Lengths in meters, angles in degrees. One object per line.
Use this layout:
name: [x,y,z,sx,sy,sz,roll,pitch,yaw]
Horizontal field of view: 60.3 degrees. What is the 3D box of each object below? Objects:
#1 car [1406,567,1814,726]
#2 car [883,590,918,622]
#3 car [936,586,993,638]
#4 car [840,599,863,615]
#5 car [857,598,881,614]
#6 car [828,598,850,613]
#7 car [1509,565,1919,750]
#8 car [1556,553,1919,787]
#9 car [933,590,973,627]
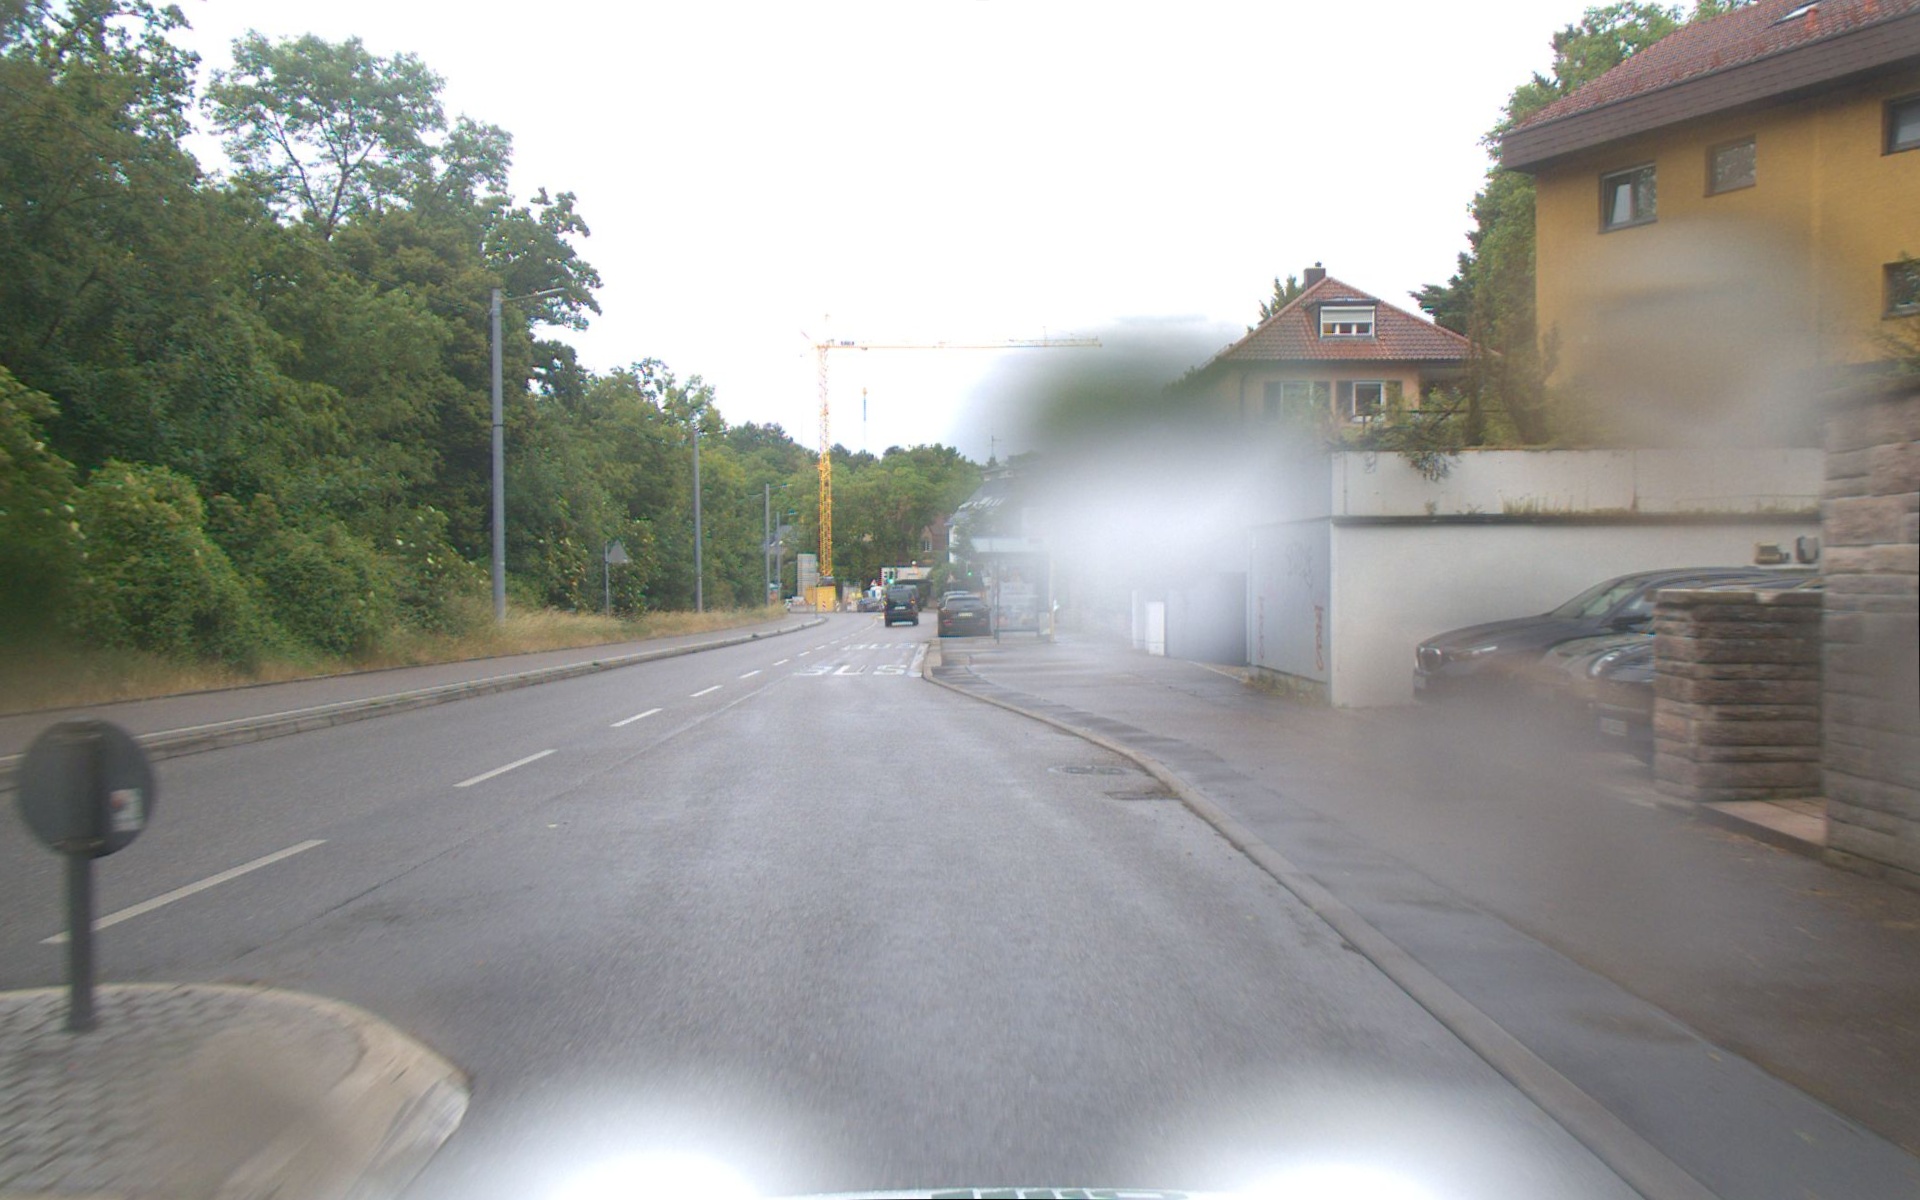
car: [6.794,0.474,17.524,3.693,1.580,1.608,0,0,-2]
car: [-3.029,0.305,84.723,1.633,1.621,3.682,0,0,0]
car: [0.146,0.409,59.066,1.953,1.803,4.114,0,0,0]
car: [-11.158,0.675,170.067,1.710,1.579,3.842,2,0,-14]
car: [-9.024,0.609,163.960,1.710,1.579,3.842,0,0,-14]
car: [-12.840,0.599,175.457,1.710,1.579,3.842,0,0,-14]
car: [6.930,0.484,15.196,3.218,1.506,1.576,-2,1,-2]
car: [6.719,0.509,12.717,3.655,1.658,1.699,0,0,-2]
car: [-0.352,0.412,82.620,1.953,1.803,4.114,0,0,0]
